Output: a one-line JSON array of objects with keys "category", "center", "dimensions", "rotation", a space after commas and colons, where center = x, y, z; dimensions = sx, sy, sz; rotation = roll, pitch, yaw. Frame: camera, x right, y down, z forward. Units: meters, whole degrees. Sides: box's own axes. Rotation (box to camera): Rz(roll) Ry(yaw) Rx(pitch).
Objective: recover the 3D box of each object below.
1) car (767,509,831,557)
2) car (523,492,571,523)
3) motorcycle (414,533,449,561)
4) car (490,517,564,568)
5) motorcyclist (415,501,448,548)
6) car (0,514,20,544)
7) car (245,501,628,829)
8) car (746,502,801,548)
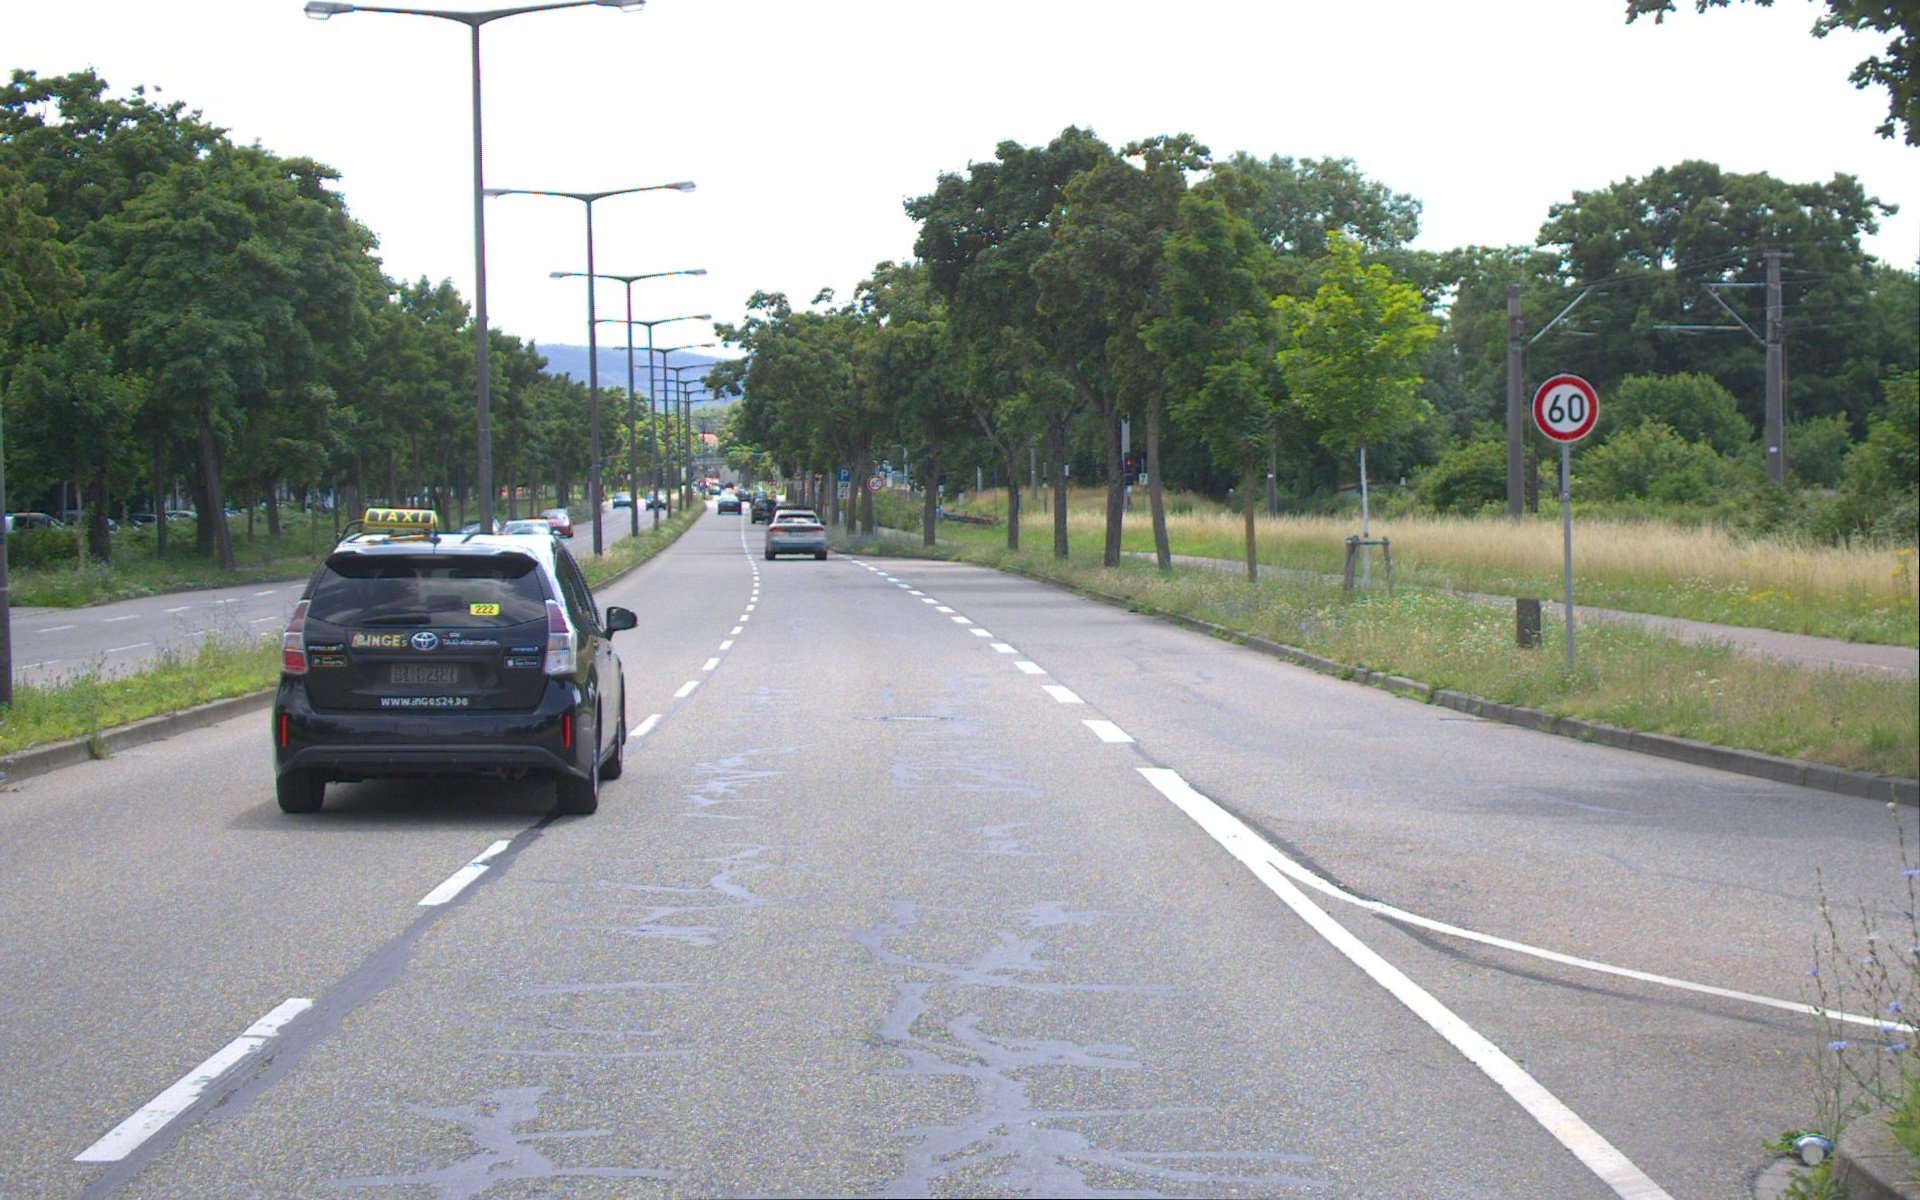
[{"category": "car", "center": [-5.382, -2.240, 114.590], "dimensions": [1.993, 1.503, 4.001], "rotation": [1, 2, -4]}, {"category": "car", "center": [-20.909, -4.680, 174.165], "dimensions": [1.879, 1.503, 3.798], "rotation": [1, 2, 1]}, {"category": "motorcycle", "center": [-16.094, -1.623, 104.766], "dimensions": [0.751, 0.769, 2.672], "rotation": [1, 2, -2]}, {"category": "car", "center": [-12.813, -1.731, 101.947], "dimensions": [1.810, 1.393, 4.734], "rotation": [-1, 2, -3]}, {"category": "motorcyclist", "center": [-16.077, -2.303, 104.599], "dimensions": [0.827, 1.409, 1.329], "rotation": [1, 2, -2]}, {"category": "car", "center": [-47.318, -3.416, 165.149], "dimensions": [3.785, 1.383, 1.786], "rotation": [1, 2, 1]}, {"category": "car", "center": [-2.949, 0.288, 20.115], "dimensions": [1.779, 1.678, 4.001], "rotation": [1, 2, -2]}, {"category": "car", "center": [-7.092, -2.880, 130.840], "dimensions": [1.993, 1.656, 4.001], "rotation": [1, 2, -2]}]
